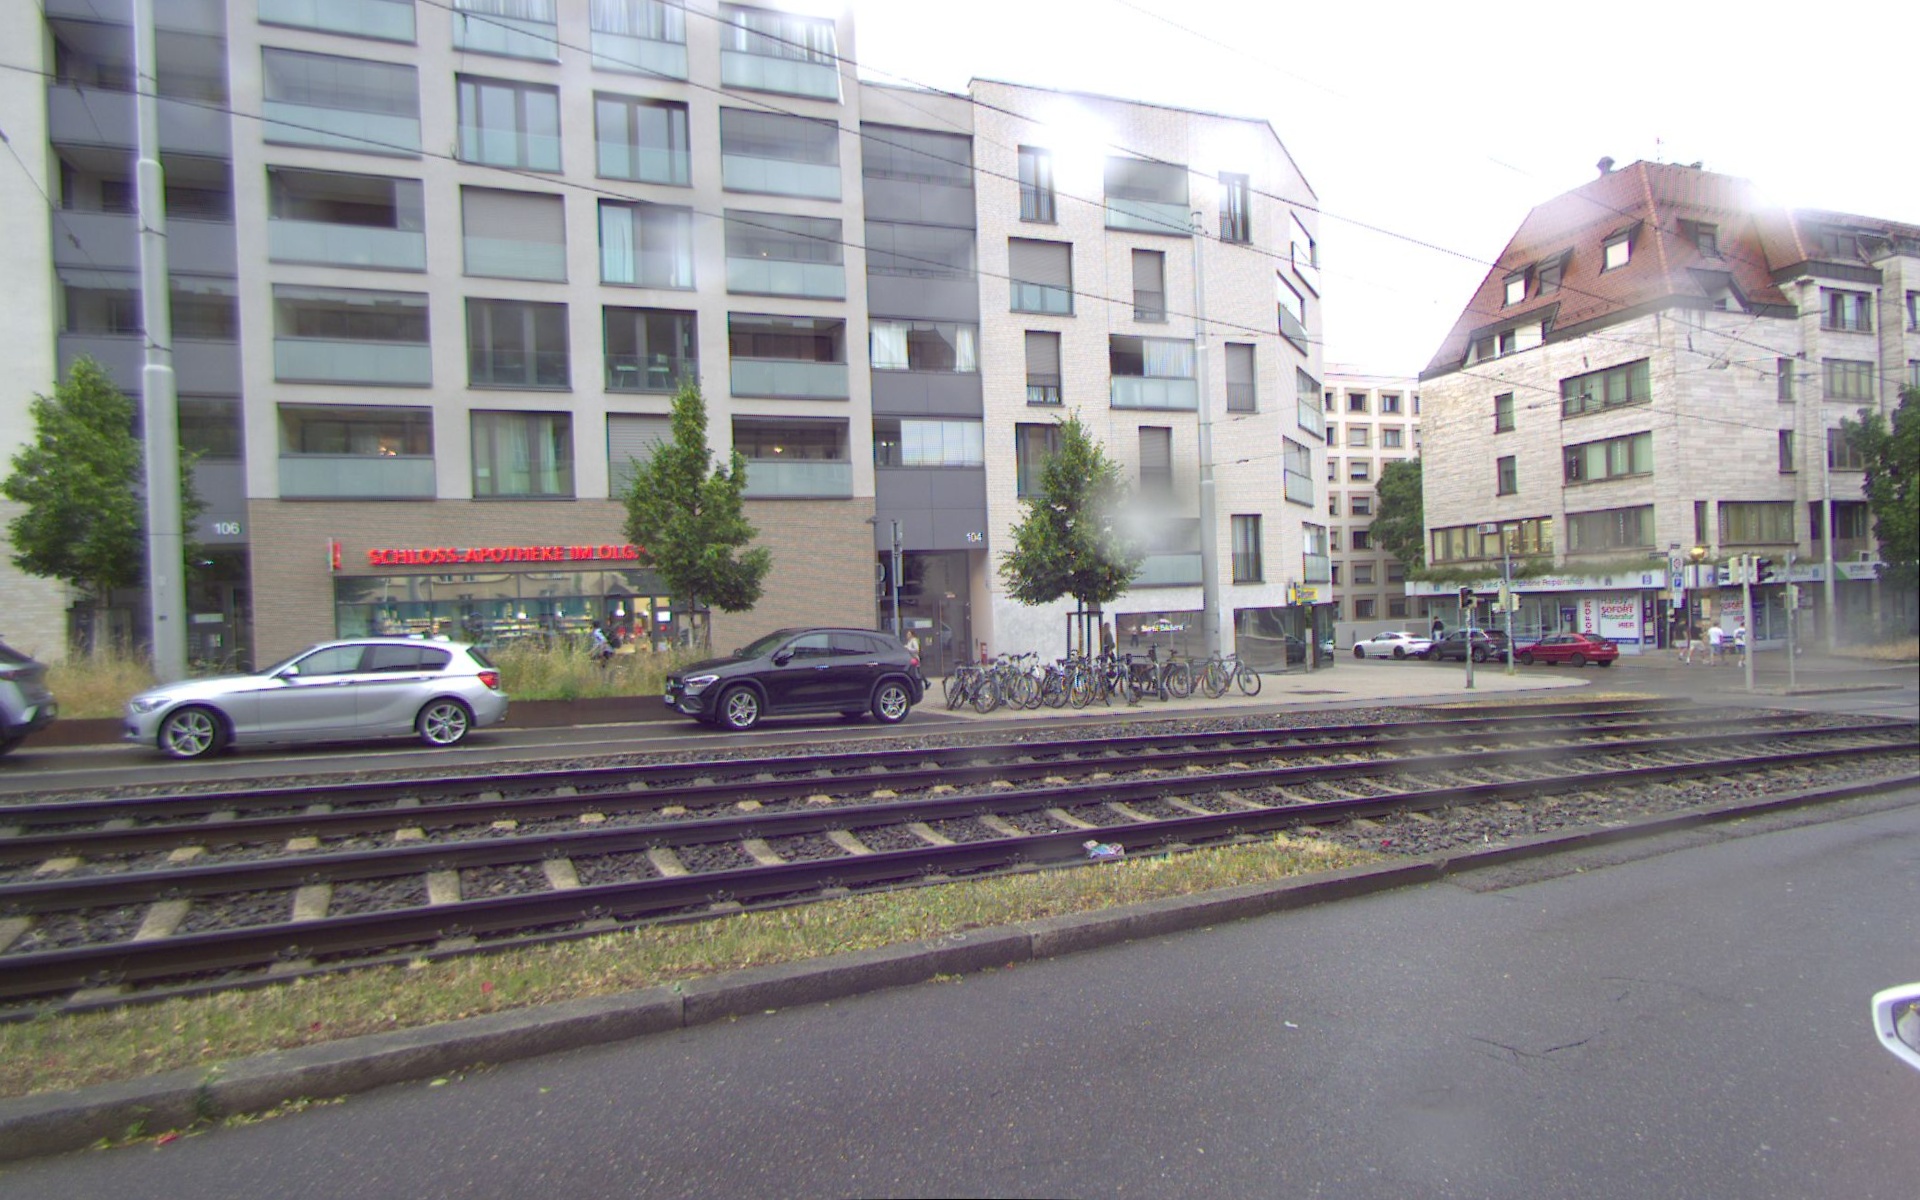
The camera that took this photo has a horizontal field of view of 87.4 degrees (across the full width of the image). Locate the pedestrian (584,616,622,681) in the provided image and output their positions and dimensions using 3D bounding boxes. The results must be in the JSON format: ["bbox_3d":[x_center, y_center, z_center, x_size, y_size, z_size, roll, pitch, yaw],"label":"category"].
[{"bbox_3d":[-8.421,1.141,23.739,0.790,1.468,0.656,1,0,-18],"label":"pedestrian"}]

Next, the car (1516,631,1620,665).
[{"bbox_3d":[25.920,2.021,42.968,1.569,1.335,3.691,1,-2,-18],"label":"car"}]

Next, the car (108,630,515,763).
[{"bbox_3d":[-8.349,1.174,13.358,4.280,1.484,1.671,2,-1,-31],"label":"car"}]

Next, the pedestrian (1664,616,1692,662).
[{"bbox_3d":[29.895,1.625,41.818,0.674,1.867,0.646,1,1,-22],"label":"pedestrian"}]

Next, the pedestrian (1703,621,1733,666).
[{"bbox_3d":[29.860,1.719,39.590,0.674,1.747,0.646,1,0,-22],"label":"pedestrian"}]

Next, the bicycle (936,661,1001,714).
[{"bbox_3d":[0.146,1.739,20.212,0.383,0.930,1.772,1,-1,-34],"label":"bicycle"}]

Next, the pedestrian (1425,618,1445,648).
[{"bbox_3d":[25.619,1.777,54.170,0.640,1.569,0.680,1,0,-21],"label":"pedestrian"}]

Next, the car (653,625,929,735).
[{"bbox_3d":[-2.790,1.268,16.937,4.280,1.625,1.671,1,-1,-31],"label":"car"}]

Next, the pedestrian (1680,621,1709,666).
[{"bbox_3d":[29.547,1.727,40.410,0.674,1.772,0.646,1,0,-22],"label":"pedestrian"}]

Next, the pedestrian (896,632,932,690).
[{"bbox_3d":[-1.200,1.596,26.298,0.790,1.468,0.538,1,0,-18],"label":"pedestrian"}]

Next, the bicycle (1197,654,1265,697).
[{"bbox_3d":[6.673,1.840,24.823,0.436,0.993,1.773,1,-2,-34],"label":"bicycle"}]

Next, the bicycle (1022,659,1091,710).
[{"bbox_3d":[1.985,1.741,20.931,0.383,0.930,1.772,1,-1,-34],"label":"bicycle"}]

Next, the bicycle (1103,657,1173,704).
[{"bbox_3d":[4.088,1.839,23.164,0.384,0.930,1.770,1,0,-38],"label":"bicycle"}]

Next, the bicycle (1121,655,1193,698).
[{"bbox_3d":[4.739,1.823,24.249,1.764,0.930,0.385,0,-1,44],"label":"bicycle"}]

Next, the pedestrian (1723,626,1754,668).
[{"bbox_3d":[30.172,1.815,38.926,0.674,1.569,0.646,1,0,-22],"label":"pedestrian"}]

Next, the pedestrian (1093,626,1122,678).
[{"bbox_3d":[4.622,1.622,31.376,0.637,1.590,0.775,0,-1,33],"label":"pedestrian"}]

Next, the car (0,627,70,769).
[{"bbox_3d":[-12.450,1.069,10.873,4.010,1.550,1.669,2,-1,-35],"label":"car"}]

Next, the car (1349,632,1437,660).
[{"bbox_3d":[22.421,2.351,52.232,1.570,1.335,4.482,1,-2,-20],"label":"car"}]

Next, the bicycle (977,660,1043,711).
[{"bbox_3d":[1.012,1.742,20.669,0.383,0.930,1.772,1,-1,-34],"label":"bicycle"}]

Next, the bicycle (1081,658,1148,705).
[{"bbox_3d":[3.451,1.814,22.540,0.383,0.930,1.772,1,-1,-34],"label":"bicycle"}]

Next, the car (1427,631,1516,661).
[{"bbox_3d":[24.191,2.169,47.605,1.570,1.335,3.689,1,-2,-20],"label":"car"}]

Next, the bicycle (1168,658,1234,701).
[{"bbox_3d":[5.733,1.880,24.011,0.383,0.888,1.774,1,0,-31],"label":"bicycle"}]

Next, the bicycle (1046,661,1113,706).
[{"bbox_3d":[2.560,1.789,21.785,0.383,0.929,1.773,1,-3,-34],"label":"bicycle"}]
